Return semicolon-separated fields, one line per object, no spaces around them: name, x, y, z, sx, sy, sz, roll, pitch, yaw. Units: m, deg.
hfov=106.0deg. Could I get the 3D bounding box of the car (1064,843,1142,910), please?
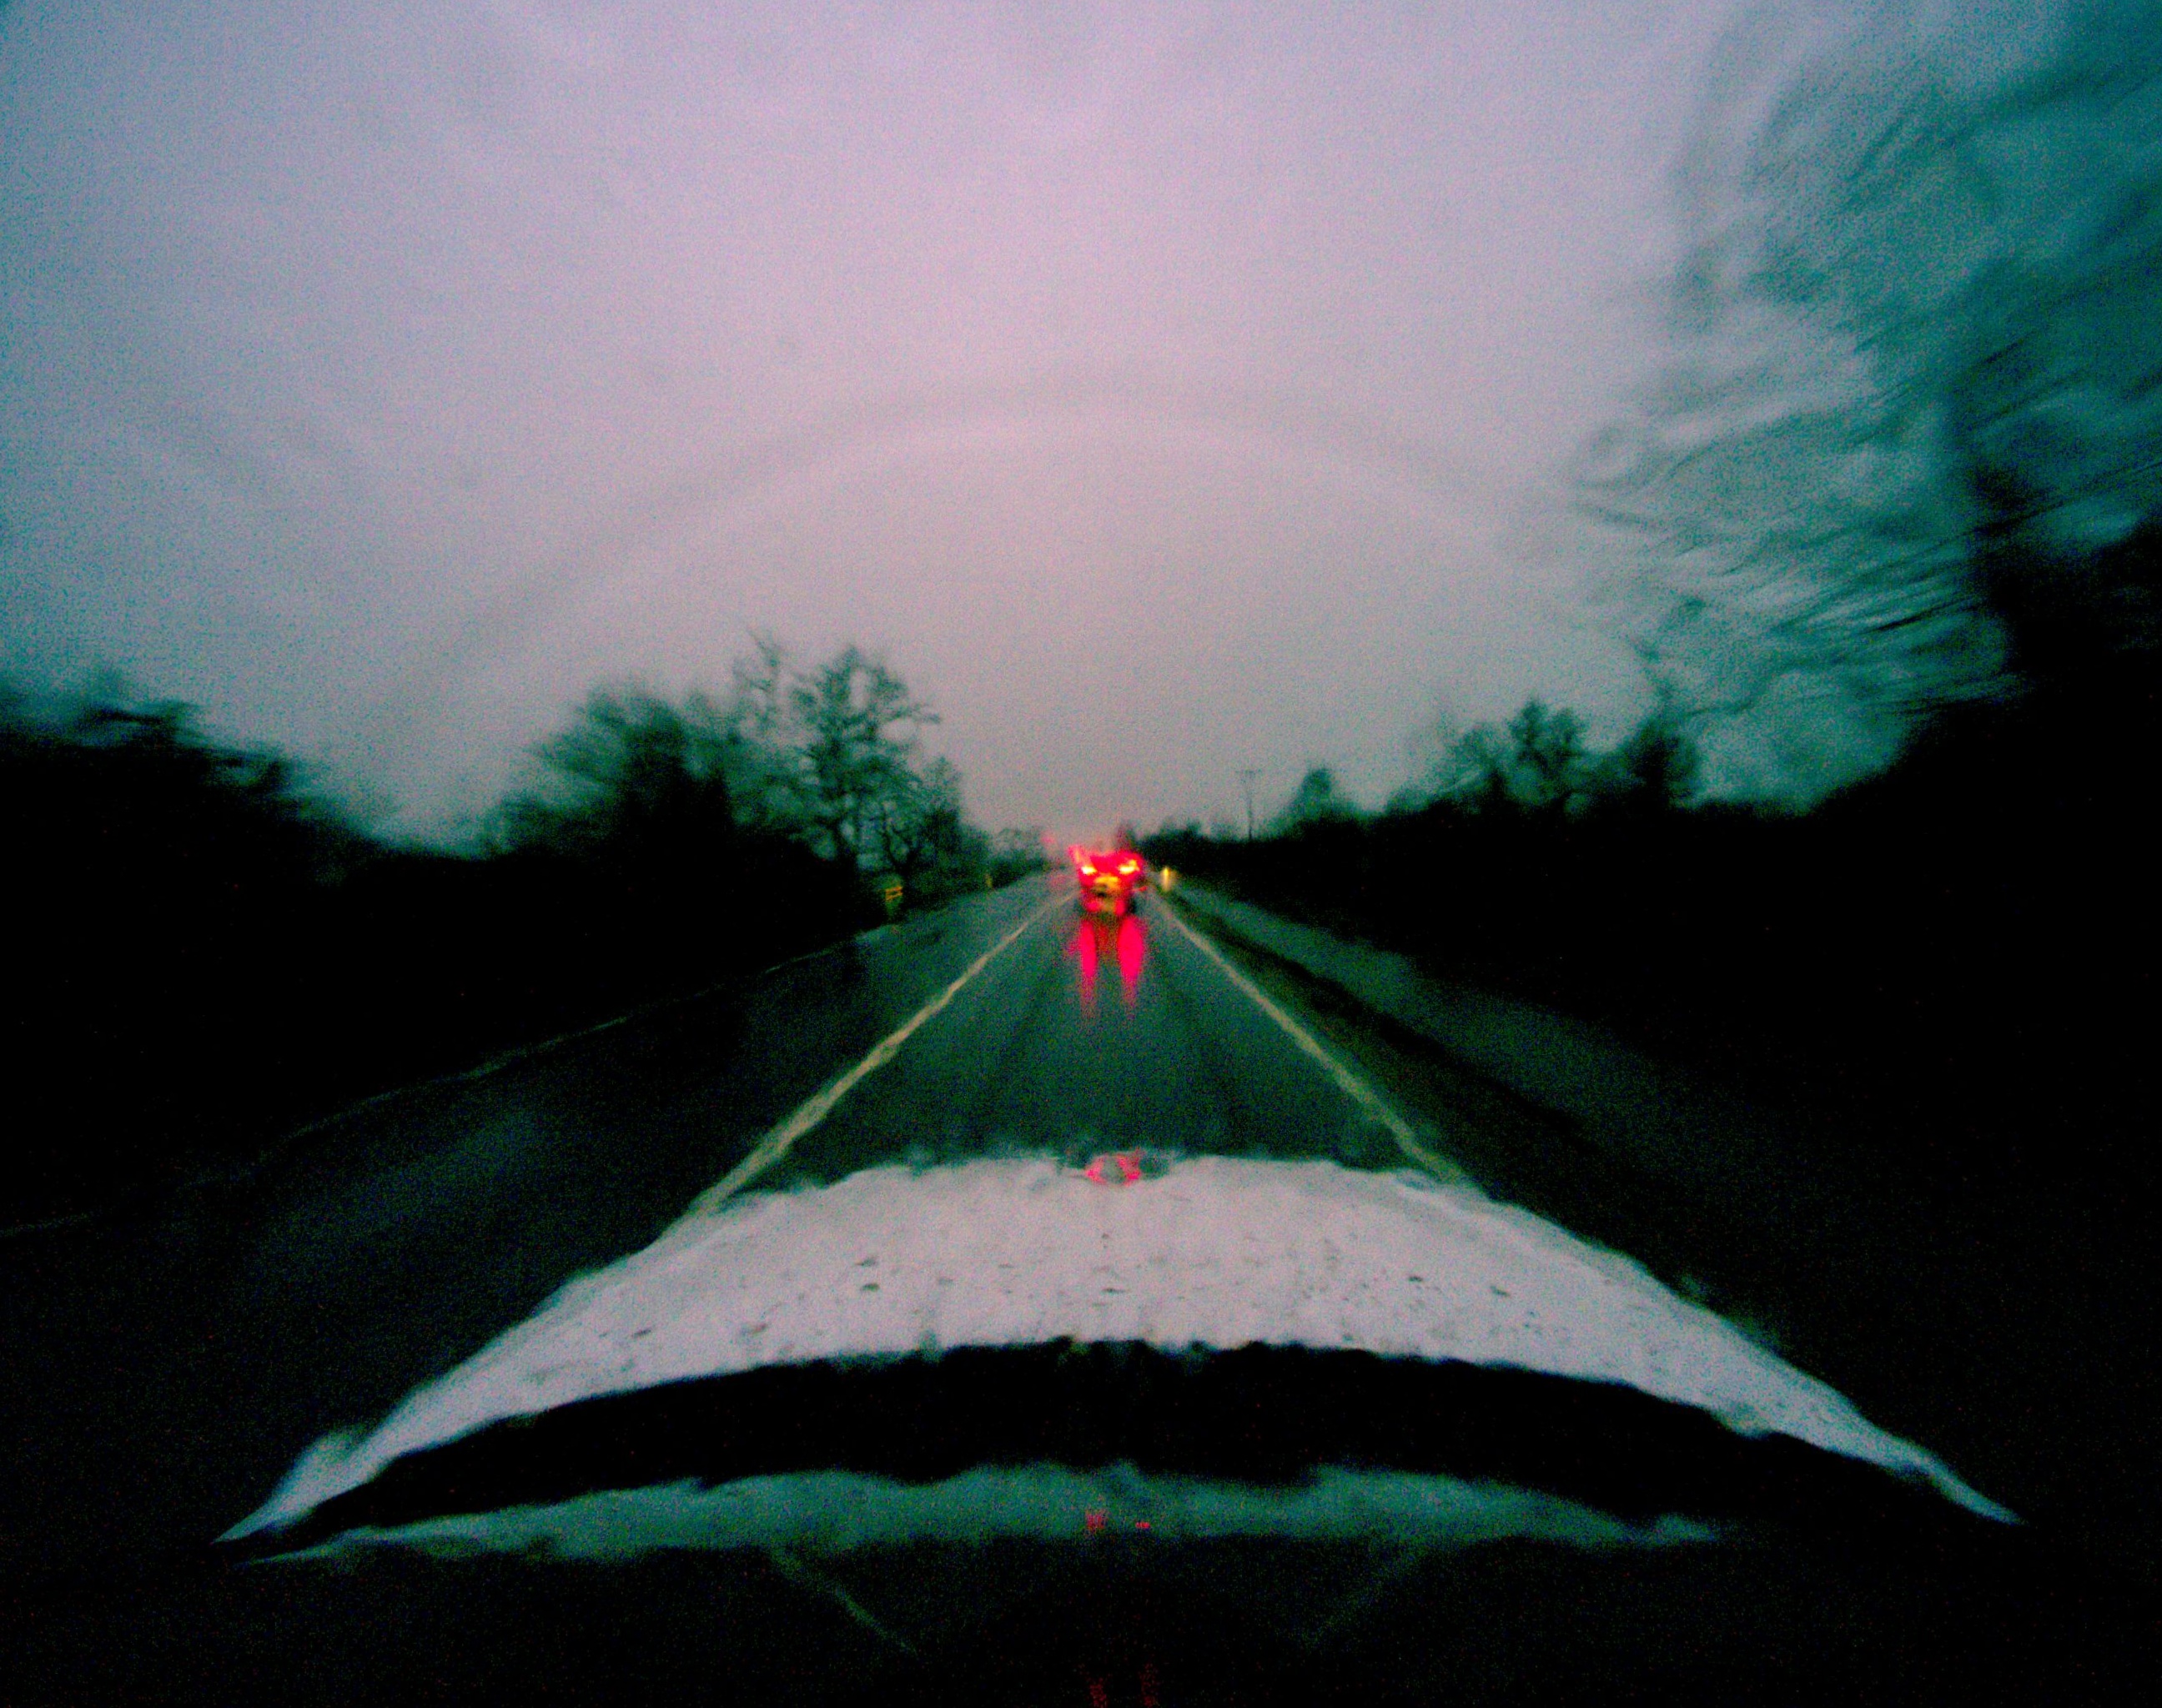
car;0.688;0.617;24.982;2.112;1.820;4.982;-1;0;2
